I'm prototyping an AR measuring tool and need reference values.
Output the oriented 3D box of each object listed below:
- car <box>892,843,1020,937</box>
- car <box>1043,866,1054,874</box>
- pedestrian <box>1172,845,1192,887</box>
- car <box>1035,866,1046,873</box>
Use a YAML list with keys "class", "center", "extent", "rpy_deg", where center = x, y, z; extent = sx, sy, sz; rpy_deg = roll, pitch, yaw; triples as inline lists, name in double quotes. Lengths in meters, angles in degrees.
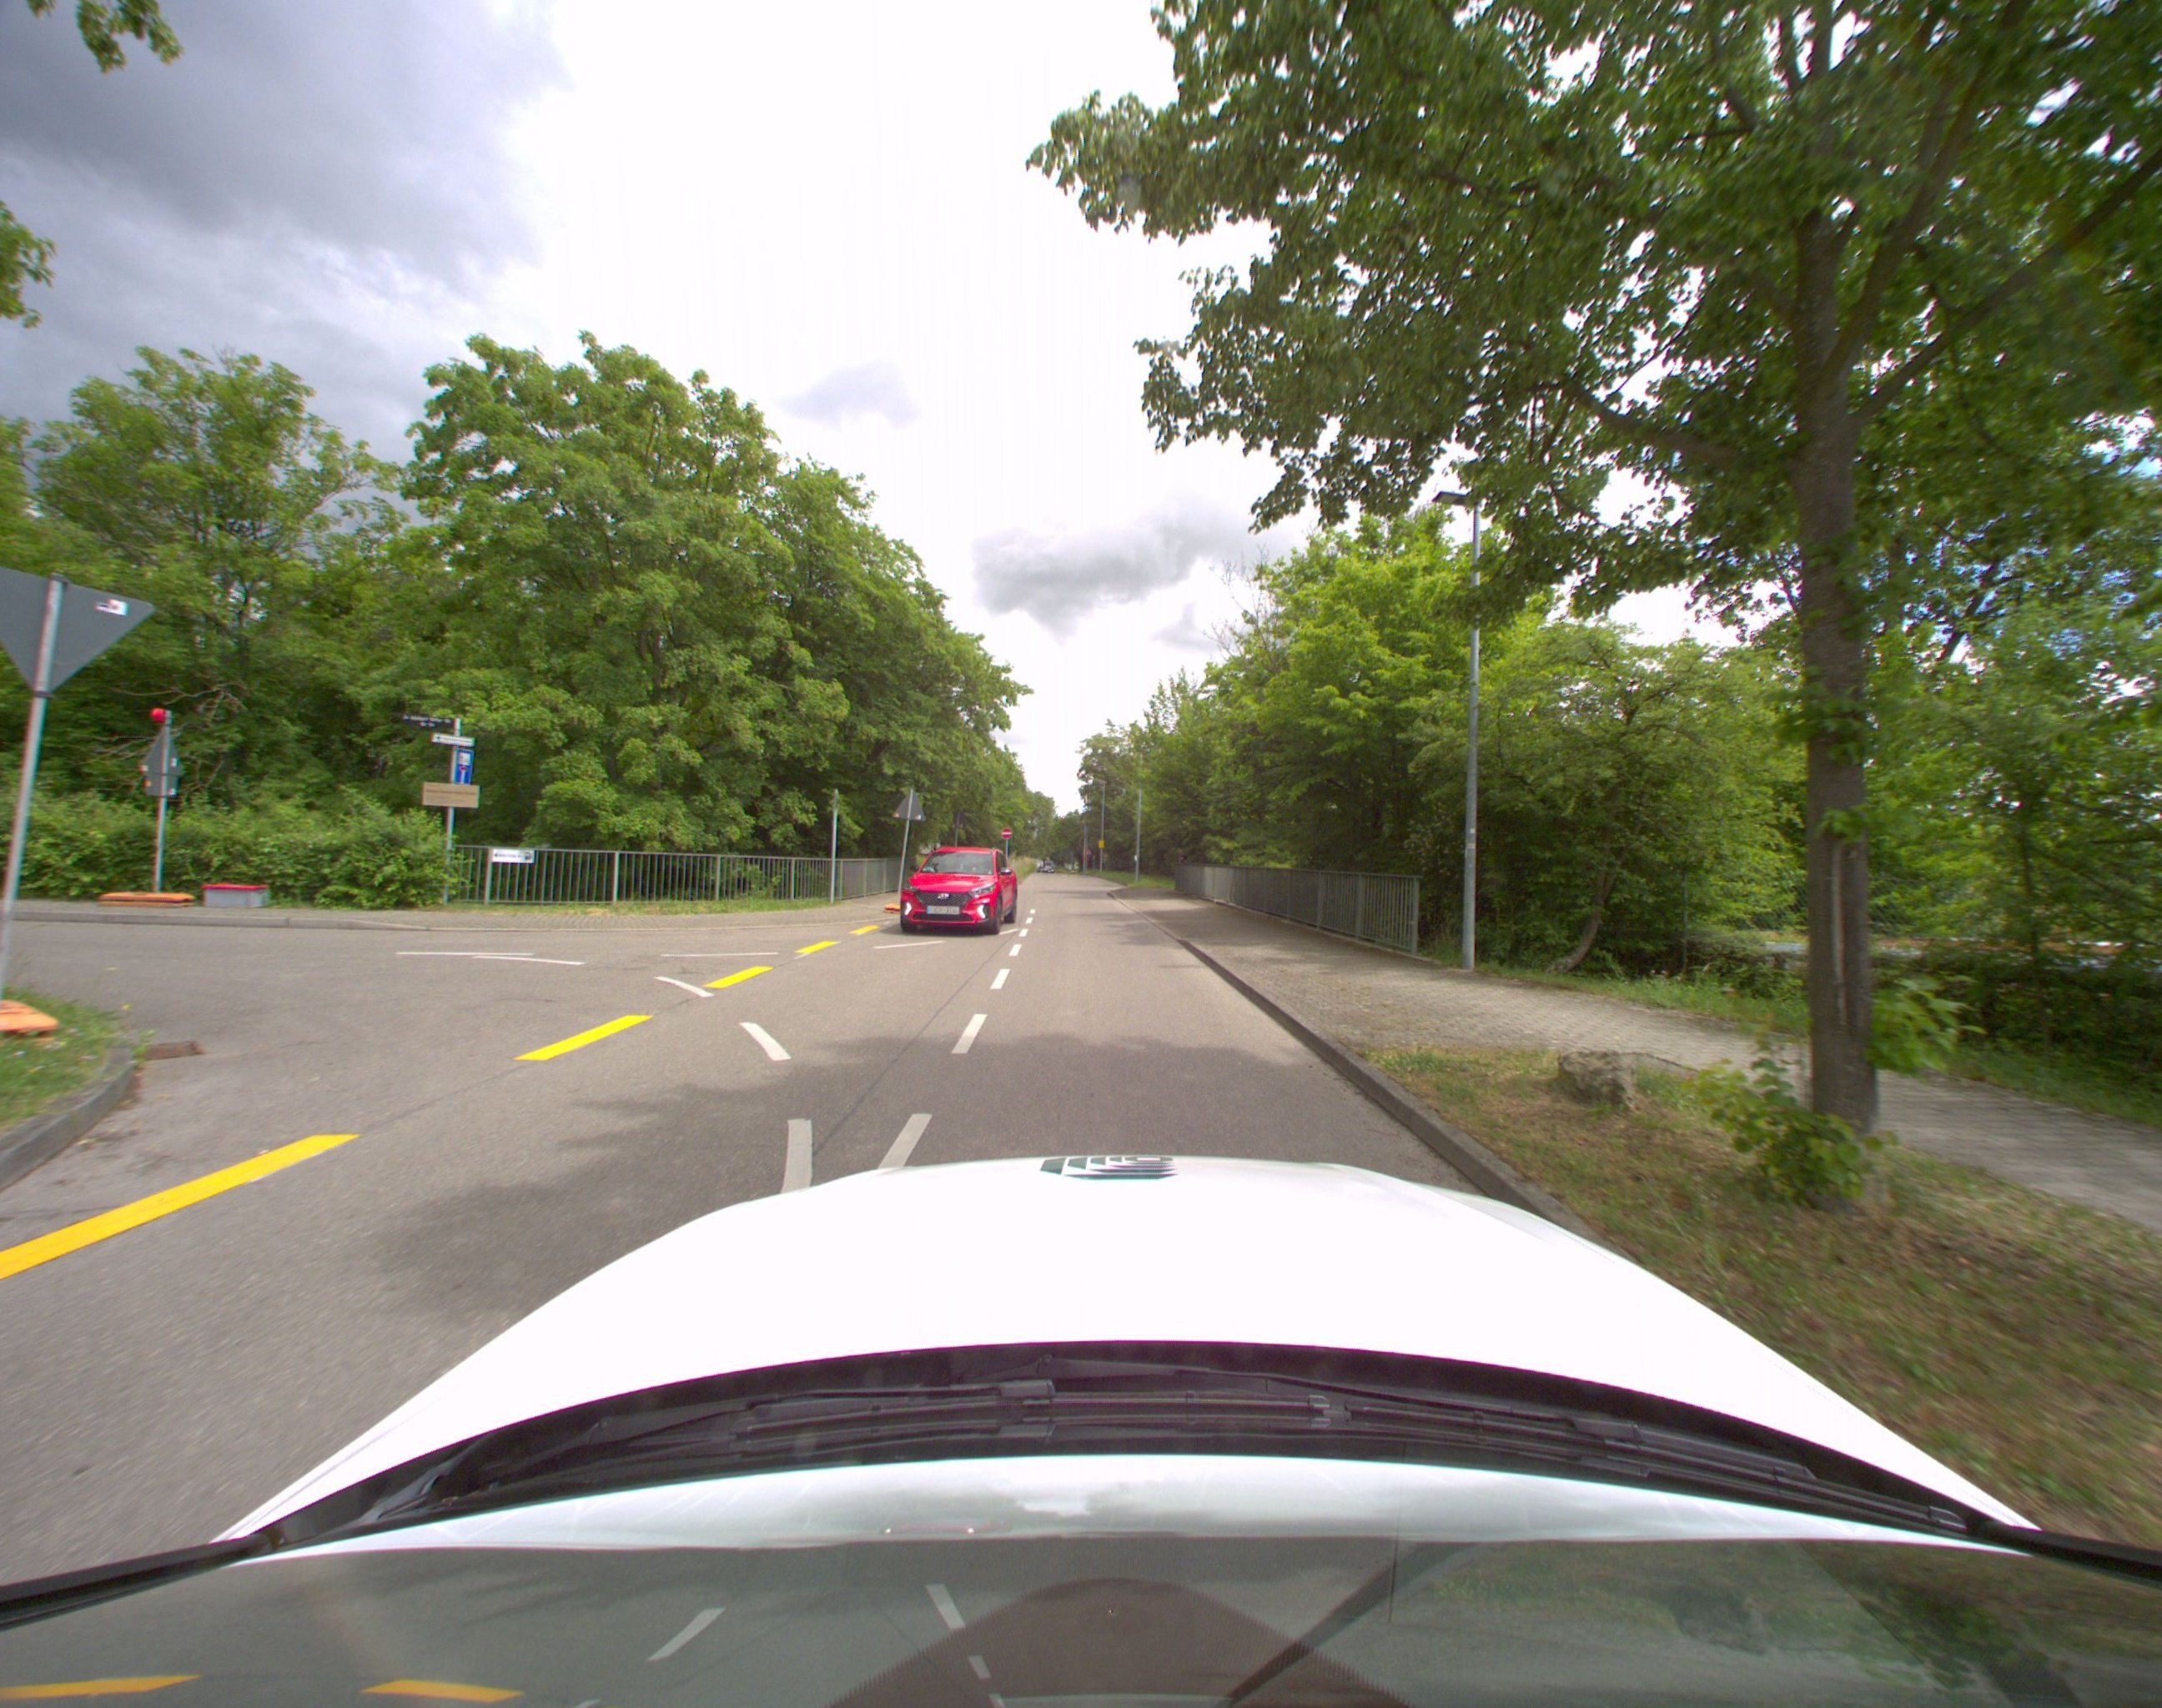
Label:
- class: "car"
  center: [-2.387, 0.637, 16.669]
  extent: [1.836, 1.659, 4.223]
  rpy_deg: [1, 0, 1]
- class: "car"
  center: [-5.326, 2.607, 134.436]
  extent: [1.687, 1.349, 4.094]
  rpy_deg: [2, -1, 0]
- class: "pedestrian"
  center: [4.299, 0.519, 34.730]
  extent: [0.588, 1.783, 0.678]
  rpy_deg: [2, -2, -16]
- class: "car"
  center: [-8.973, 3.372, 180.167]
  extent: [1.970, 1.384, 4.005]
  rpy_deg: [3, -1, 5]
